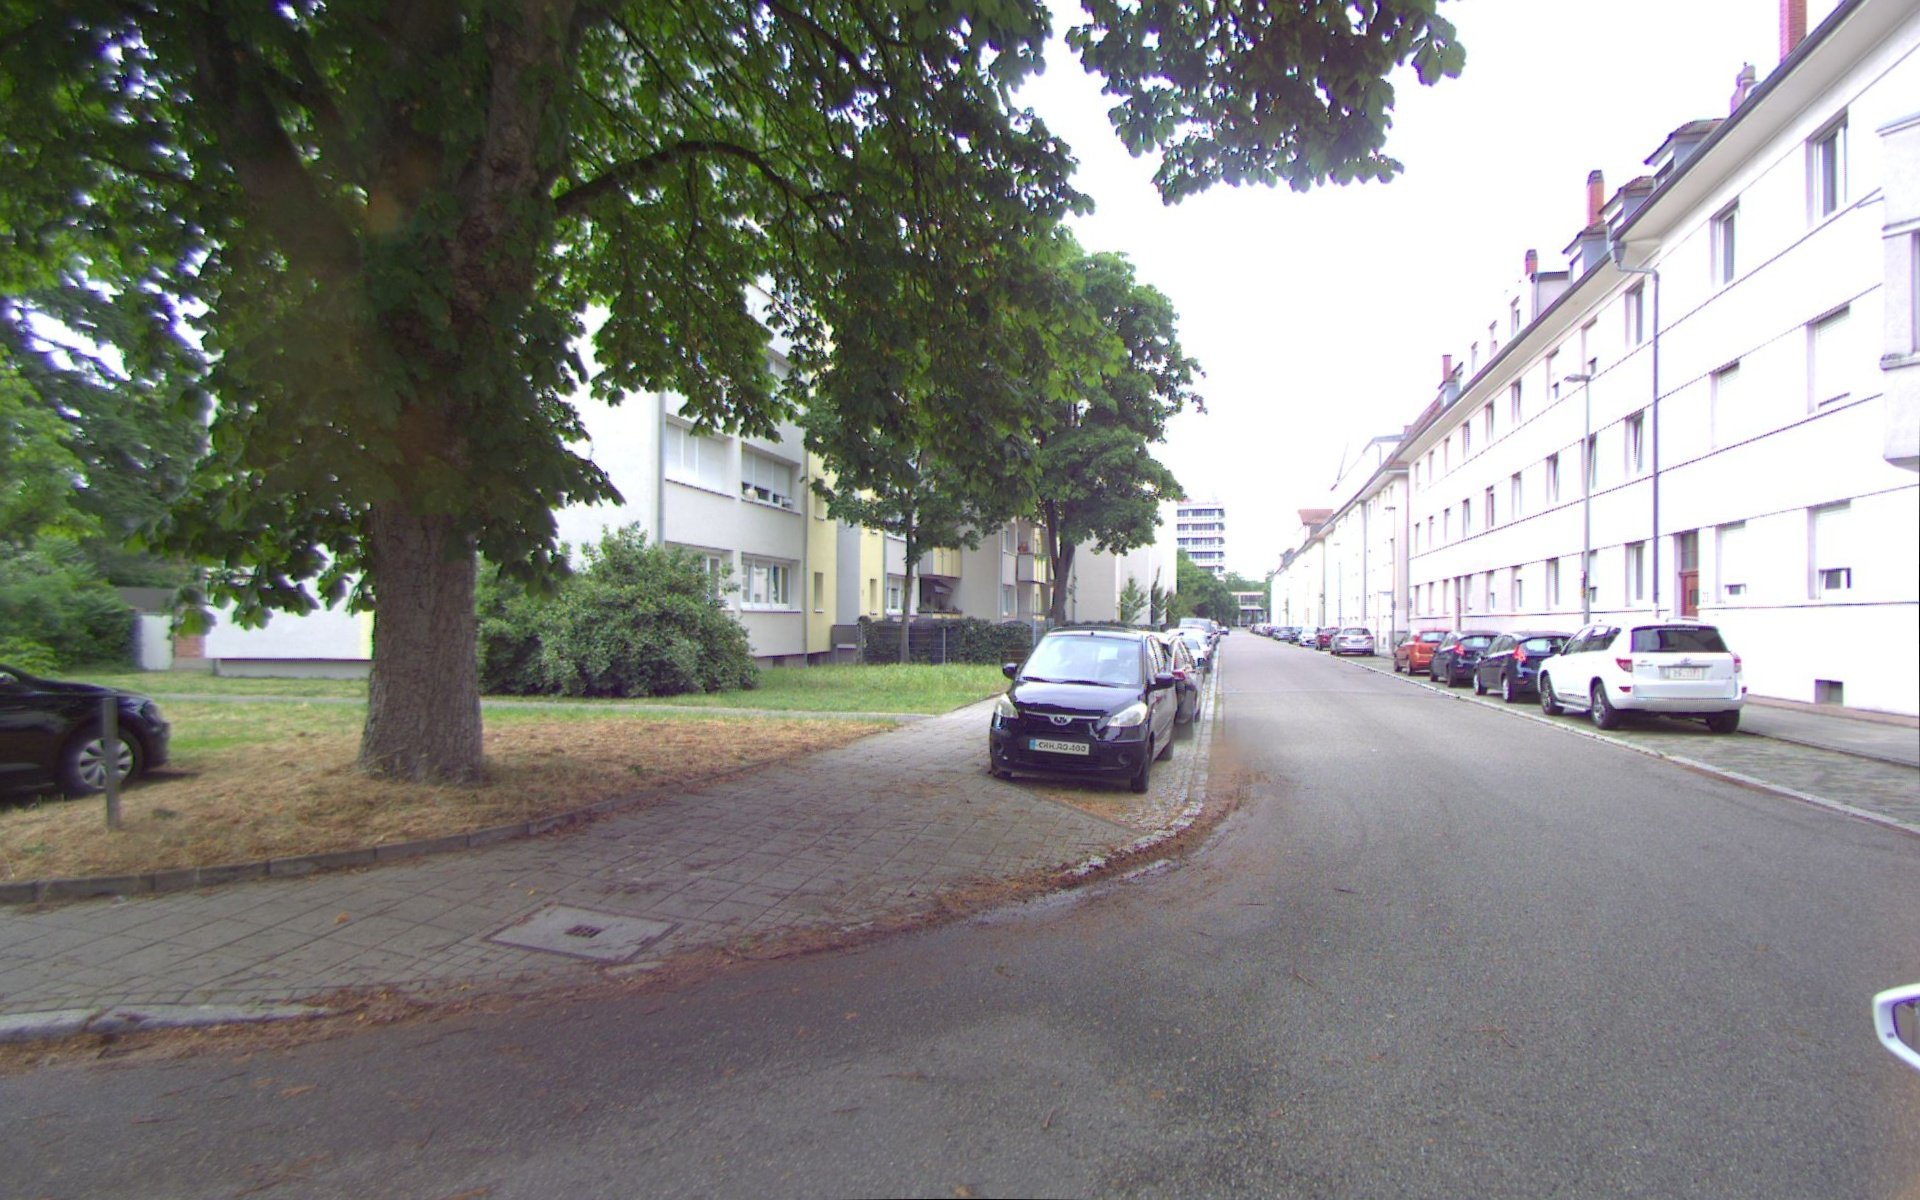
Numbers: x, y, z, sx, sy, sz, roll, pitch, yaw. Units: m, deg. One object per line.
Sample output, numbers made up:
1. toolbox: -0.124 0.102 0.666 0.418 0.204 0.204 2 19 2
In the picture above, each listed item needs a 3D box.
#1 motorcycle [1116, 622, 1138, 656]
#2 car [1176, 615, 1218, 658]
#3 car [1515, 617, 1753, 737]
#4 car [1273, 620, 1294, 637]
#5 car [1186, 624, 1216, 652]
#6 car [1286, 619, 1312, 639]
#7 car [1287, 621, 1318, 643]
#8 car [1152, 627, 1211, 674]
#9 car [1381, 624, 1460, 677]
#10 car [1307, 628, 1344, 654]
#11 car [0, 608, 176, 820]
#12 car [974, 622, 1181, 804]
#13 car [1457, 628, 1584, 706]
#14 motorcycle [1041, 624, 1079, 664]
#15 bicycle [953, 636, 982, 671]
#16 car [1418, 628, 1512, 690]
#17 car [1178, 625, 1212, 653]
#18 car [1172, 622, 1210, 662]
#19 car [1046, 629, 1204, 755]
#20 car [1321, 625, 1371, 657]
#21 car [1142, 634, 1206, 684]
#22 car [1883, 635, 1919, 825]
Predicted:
1. motorcycle: 7.194 1.644 43.223 0.666 1.374 2.230 3 0 15
2. car: 11.815 1.758 50.245 1.847 1.929 5.033 3 0 13
3. car: 10.822 1.149 16.537 1.811 1.696 4.292 -1 -1 13
4. car: 32.245 2.789 100.118 1.788 1.598 3.886 1 -1 15
5. car: 15.046 2.347 62.746 1.739 1.665 4.357 1 -1 13
6. car: 28.222 2.381 83.762 1.788 1.598 3.754 1 -1 15
7. car: 24.645 2.297 72.404 1.788 1.524 3.754 1 -1 15
8. car: 7.957 1.731 35.820 1.810 1.440 4.632 2 0 15
9. car: 14.785 1.586 32.418 1.668 1.545 3.827 -1 -1 15
10. car: 22.125 2.464 60.953 1.641 1.439 4.002 -2 -1 14
11. car: -8.272 0.853 7.202 1.794 1.598 3.844 -1 -1 17
12. car: 1.414 1.038 10.786 1.499 1.513 3.592 3 0 17
13. car: 12.065 1.370 21.857 1.541 1.498 3.872 0 -1 16
14. motorcycle: 3.372 1.446 33.666 0.669 1.239 3.067 1 -1 16
15. bicycle: 0.267 1.788 33.941 0.542 1.115 1.775 0 -1 16
16. car: 13.465 1.530 26.981 1.541 1.493 3.697 -2 -2 16
17. car: 13.283 2.180 56.761 1.799 1.478 4.262 1 -1 13
18. car: 10.476 1.862 45.379 1.537 1.589 3.644 3 0 14
19. car: 2.728 1.266 15.606 1.836 1.484 4.836 3 0 16
20. car: 19.442 2.028 50.742 1.725 1.487 4.603 1 -1 13
21. car: 6.561 1.743 30.527 1.668 1.275 4.017 2 0 15
22. car: 7.670 0.958 5.441 1.715 1.439 4.952 -1 -1 13
